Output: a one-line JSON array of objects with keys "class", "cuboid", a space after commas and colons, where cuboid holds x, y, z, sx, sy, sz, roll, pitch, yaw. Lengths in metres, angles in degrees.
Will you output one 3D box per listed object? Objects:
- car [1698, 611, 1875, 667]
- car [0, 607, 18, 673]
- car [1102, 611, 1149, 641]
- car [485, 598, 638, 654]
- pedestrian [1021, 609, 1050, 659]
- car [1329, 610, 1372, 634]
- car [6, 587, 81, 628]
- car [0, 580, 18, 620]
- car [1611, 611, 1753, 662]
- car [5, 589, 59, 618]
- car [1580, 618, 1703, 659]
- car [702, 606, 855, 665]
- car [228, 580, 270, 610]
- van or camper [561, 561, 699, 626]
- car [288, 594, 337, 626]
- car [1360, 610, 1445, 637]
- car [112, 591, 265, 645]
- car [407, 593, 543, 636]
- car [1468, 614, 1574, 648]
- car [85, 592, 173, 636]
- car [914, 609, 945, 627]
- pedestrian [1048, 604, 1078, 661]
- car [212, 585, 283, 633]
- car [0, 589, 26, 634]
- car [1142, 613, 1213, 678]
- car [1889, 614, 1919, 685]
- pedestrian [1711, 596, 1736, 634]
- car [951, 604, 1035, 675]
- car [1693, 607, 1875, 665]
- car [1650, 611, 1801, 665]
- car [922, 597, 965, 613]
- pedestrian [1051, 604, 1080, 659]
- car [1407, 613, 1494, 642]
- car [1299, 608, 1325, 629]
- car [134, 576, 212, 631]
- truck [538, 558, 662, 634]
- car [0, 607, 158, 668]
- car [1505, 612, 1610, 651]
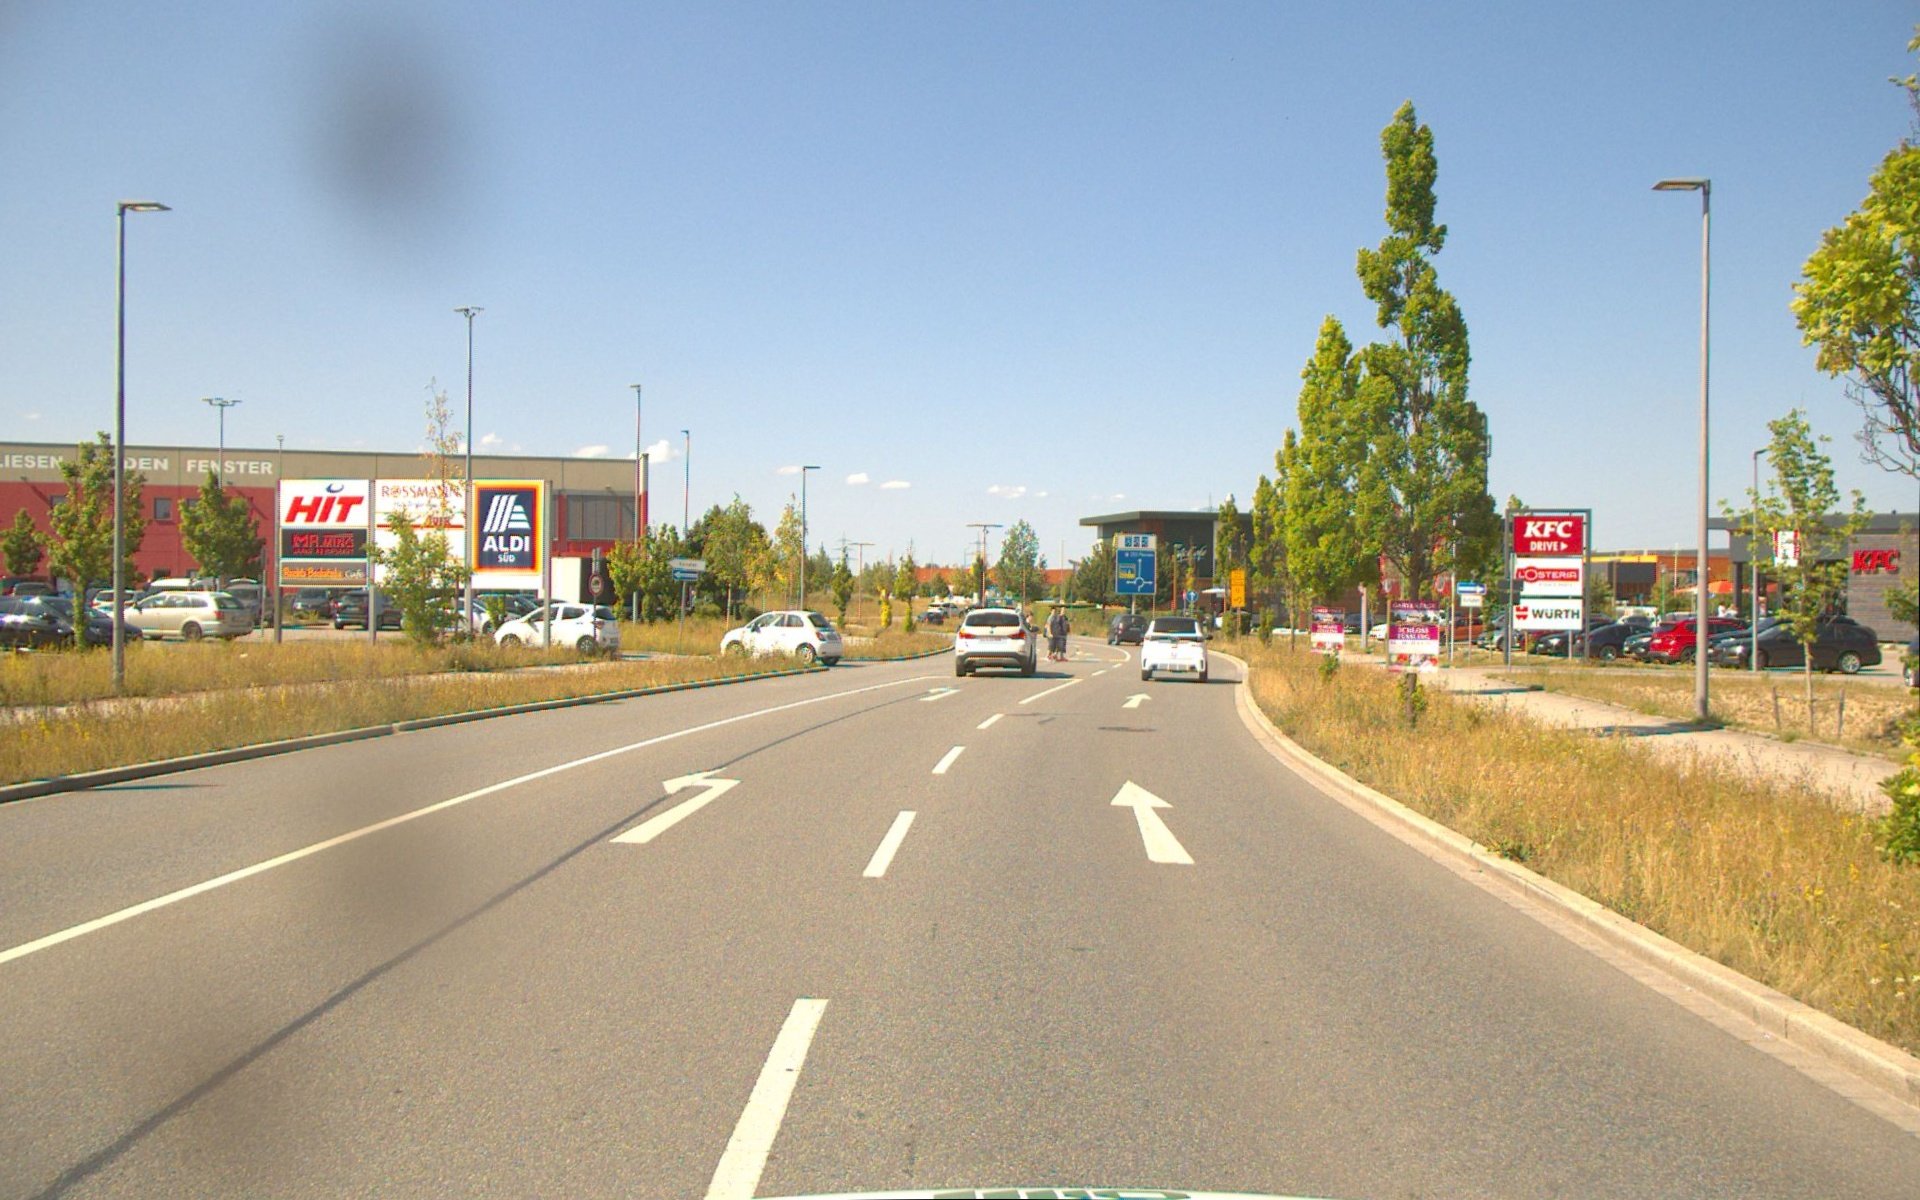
[{"class": "car", "cuboid": [24.657, 1.160, 49.470, 4.314, 1.594, 1.996, 0, 0, 2]}, {"class": "car", "cuboid": [-22.115, 0.836, 34.366, 4.056, 1.372, 1.938, 0, 0, 7]}, {"class": "car", "cuboid": [8.217, 1.269, 82.304, 1.585, 1.459, 3.787, 1, 0, -6]}, {"class": "car", "cuboid": [-11.674, 0.745, 48.582, 3.902, 1.574, 1.919, 1, 0, 10]}, {"class": "pedestrian", "cuboid": [2.297, 1.025, 50.000, 0.776, 1.496, 0.950, 1, 0, 7]}, {"class": "car", "cuboid": [25.301, 1.400, 106.965, 1.665, 1.487, 4.162, 0, 0, 29]}, {"class": "car", "cuboid": [-42.077, 0.335, 76.043, 1.800, 1.804, 4.368, 1, 0, -12]}, {"class": "car", "cuboid": [-39.177, -0.002, 65.683, 1.800, 1.610, 4.368, 1, 0, -12]}, {"class": "car", "cuboid": [25.974, 1.293, 59.601, 4.313, 1.765, 1.792, 0, 0, 4]}, {"class": "car", "cuboid": [-52.409, 0.191, 93.457, 1.633, 1.614, 4.067, 1, 0, -15]}, {"class": "car", "cuboid": [26.283, 1.460, 63.792, 4.317, 1.474, 1.790, 0, 0, 24]}, {"class": "car", "cuboid": [-5.184, 0.997, 47.223, 3.907, 1.574, 1.917, 0, 0, 24]}, {"class": "car", "cuboid": [-41.190, -0.280, 95.867, 1.633, 1.643, 4.066, 1, 0, -15]}, {"class": "van or camper", "cuboid": [-18.757, -0.357, 94.403, 7.548, 3.529, 2.551, 1, -1, -9]}, {"class": "car", "cuboid": [-33.030, 0.500, 84.443, 1.801, 1.589, 4.364, 1, 0, -15]}, {"class": "car", "cuboid": [25.790, 1.371, 96.494, 4.439, 1.516, 1.866, 0, 0, -7]}, {"class": "car", "cuboid": [-23.696, 0.538, 50.833, 3.902, 1.574, 1.842, 1, 0, 11]}, {"class": "car", "cuboid": [-18.082, 0.532, 61.761, 4.511, 1.538, 1.838, 1, 0, 1]}, {"class": "car", "cuboid": [26.814, 1.464, 79.118, 4.464, 1.516, 1.868, 0, 0, -3]}, {"class": "car", "cuboid": [-30.372, 0.505, 60.599, 1.800, 1.538, 4.368, 1, 0, -12]}, {"class": "car", "cuboid": [-2.602, 1.501, 139.448, 1.958, 1.465, 3.988, 0, 0, -12]}, {"class": "pedestrian", "cuboid": [3.104, 0.973, 49.810, 0.792, 1.657, 0.867, 1, -1, 7]}, {"class": "car", "cuboid": [-29.000, 0.367, 67.477, 1.800, 1.855, 4.368, 1, 0, -12]}, {"class": "car", "cuboid": [-35.716, 0.403, 60.051, 1.878, 1.646, 4.368, 1, 0, -12]}, {"class": "car", "cuboid": [5.178, 1.037, 39.183, 1.582, 1.459, 3.795, 1, 0, 8]}, {"class": "car", "cuboid": [22.054, 1.105, 36.061, 1.742, 1.567, 4.172, 0, 0, 8]}, {"class": "pedestrian", "cuboid": [41.558, 0.813, 89.996, 0.896, 2.049, 0.889, 1, -1, -10]}, {"class": "car", "cuboid": [0.801, 0.903, 39.223, 1.871, 1.574, 4.227, 1, 0, 2]}, {"class": "car", "cuboid": [26.523, 1.143, 53.347, 4.878, 1.765, 1.940, 0, 0, 2]}, {"class": "car", "cuboid": [26.072, 1.280, 56.405, 4.313, 1.765, 1.792, 0, 0, 4]}, {"class": "car", "cuboid": [-1.615, 0.485, 163.622, 3.966, 1.489, 1.969, 0, 0, -42]}, {"class": "pedestrian", "cuboid": [3.219, 0.965, 50.521, 0.784, 1.658, 0.805, 1, -1, 7]}, {"class": "car", "cuboid": [26.376, 1.470, 89.003, 4.124, 1.516, 1.866, 0, 0, -7]}, {"class": "car", "cuboid": [27.955, 1.475, 131.246, 1.755, 1.632, 4.002, 0, 0, 17]}, {"class": "car", "cuboid": [-31.591, 0.144, 66.516, 1.800, 2.101, 4.368, 1, 0, -12]}, {"class": "truck", "cuboid": [-17.564, -0.169, 81.210, 2.268, 3.525, 7.495, 0, 0, 20]}, {"class": "car", "cuboid": [-21.453, 0.870, 39.126, 4.056, 1.372, 1.938, 0, 0, 7]}, {"class": "car", "cuboid": [26.850, 1.391, 74.393, 4.068, 1.694, 1.869, 0, 0, 1]}]
